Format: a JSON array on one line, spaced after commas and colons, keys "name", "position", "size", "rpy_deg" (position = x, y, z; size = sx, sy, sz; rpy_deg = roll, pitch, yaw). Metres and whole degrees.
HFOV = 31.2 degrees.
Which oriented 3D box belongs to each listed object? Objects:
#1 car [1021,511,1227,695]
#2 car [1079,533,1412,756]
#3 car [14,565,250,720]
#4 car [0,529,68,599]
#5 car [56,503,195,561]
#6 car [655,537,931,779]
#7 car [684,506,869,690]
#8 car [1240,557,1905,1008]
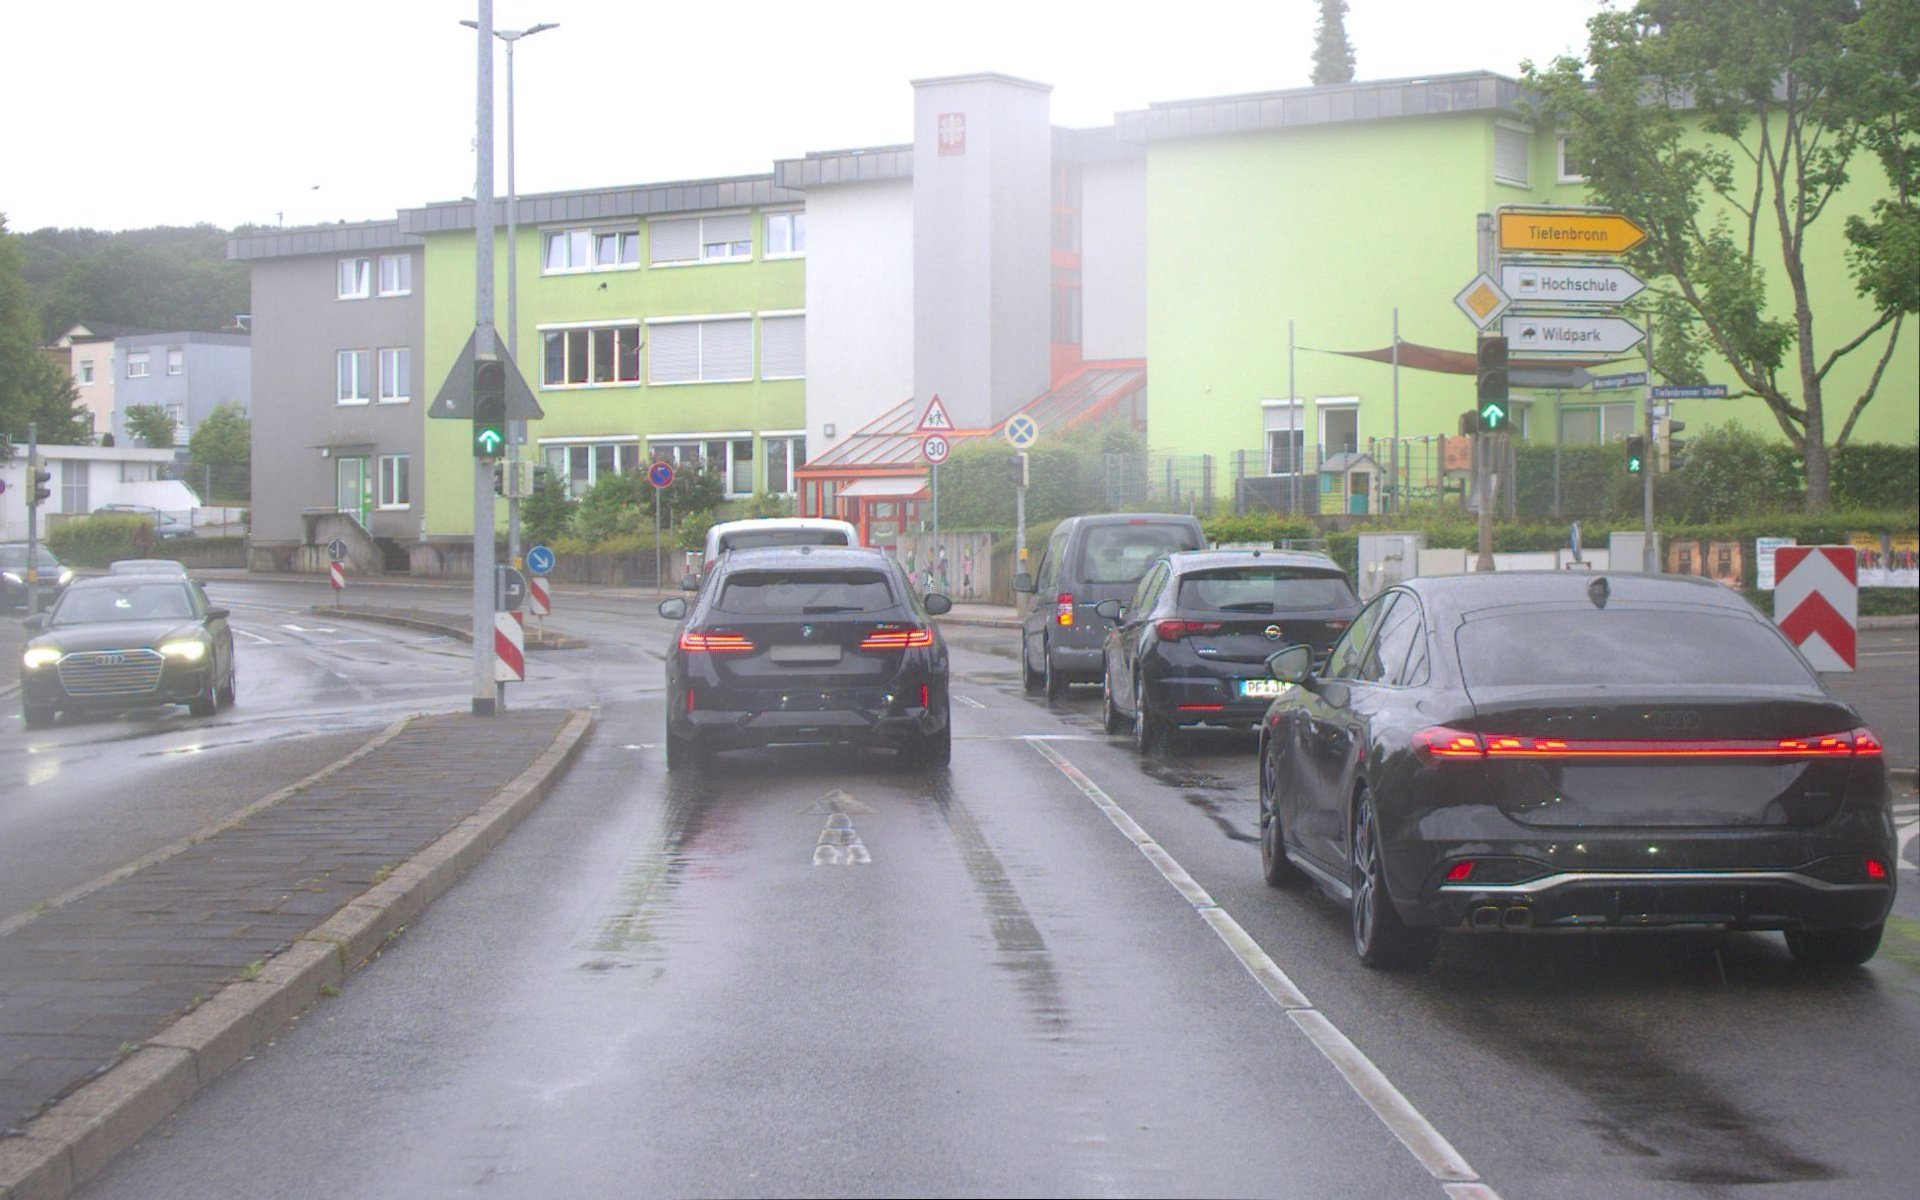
[{"name": "car", "position": [1.615, -0.026, 35.049], "size": [1.783, 1.728, 4.087], "rpy_deg": [-1, 1, -1]}, {"name": "car", "position": [2.043, 0.266, 25.756], "size": [1.849, 1.481, 4.087], "rpy_deg": [-1, 1, -4]}, {"name": "car", "position": [-8.507, 0.385, 35.642], "size": [1.737, 1.432, 4.558], "rpy_deg": [-2, 1, -6]}, {"name": "car", "position": [-22.428, -0.879, 82.491], "size": [1.849, 1.559, 4.002], "rpy_deg": [1, 2, -16]}, {"name": "car", "position": [-28.345, -2.294, 116.763], "size": [4.393, 1.766, 2.001], "rpy_deg": [-3, 1, -18]}, {"name": "car", "position": [-1.230, 0.332, 23.850], "size": [1.682, 1.501, 3.774], "rpy_deg": [-1, 1, -6]}, {"name": "car", "position": [-2.054, -0.071, 37.481], "size": [1.716, 1.838, 4.088], "rpy_deg": [1, 2, -7]}, {"name": "car", "position": [2.210, 0.575, 13.610], "size": [1.706, 1.422, 4.509], "rpy_deg": [0, 1, -2]}]
